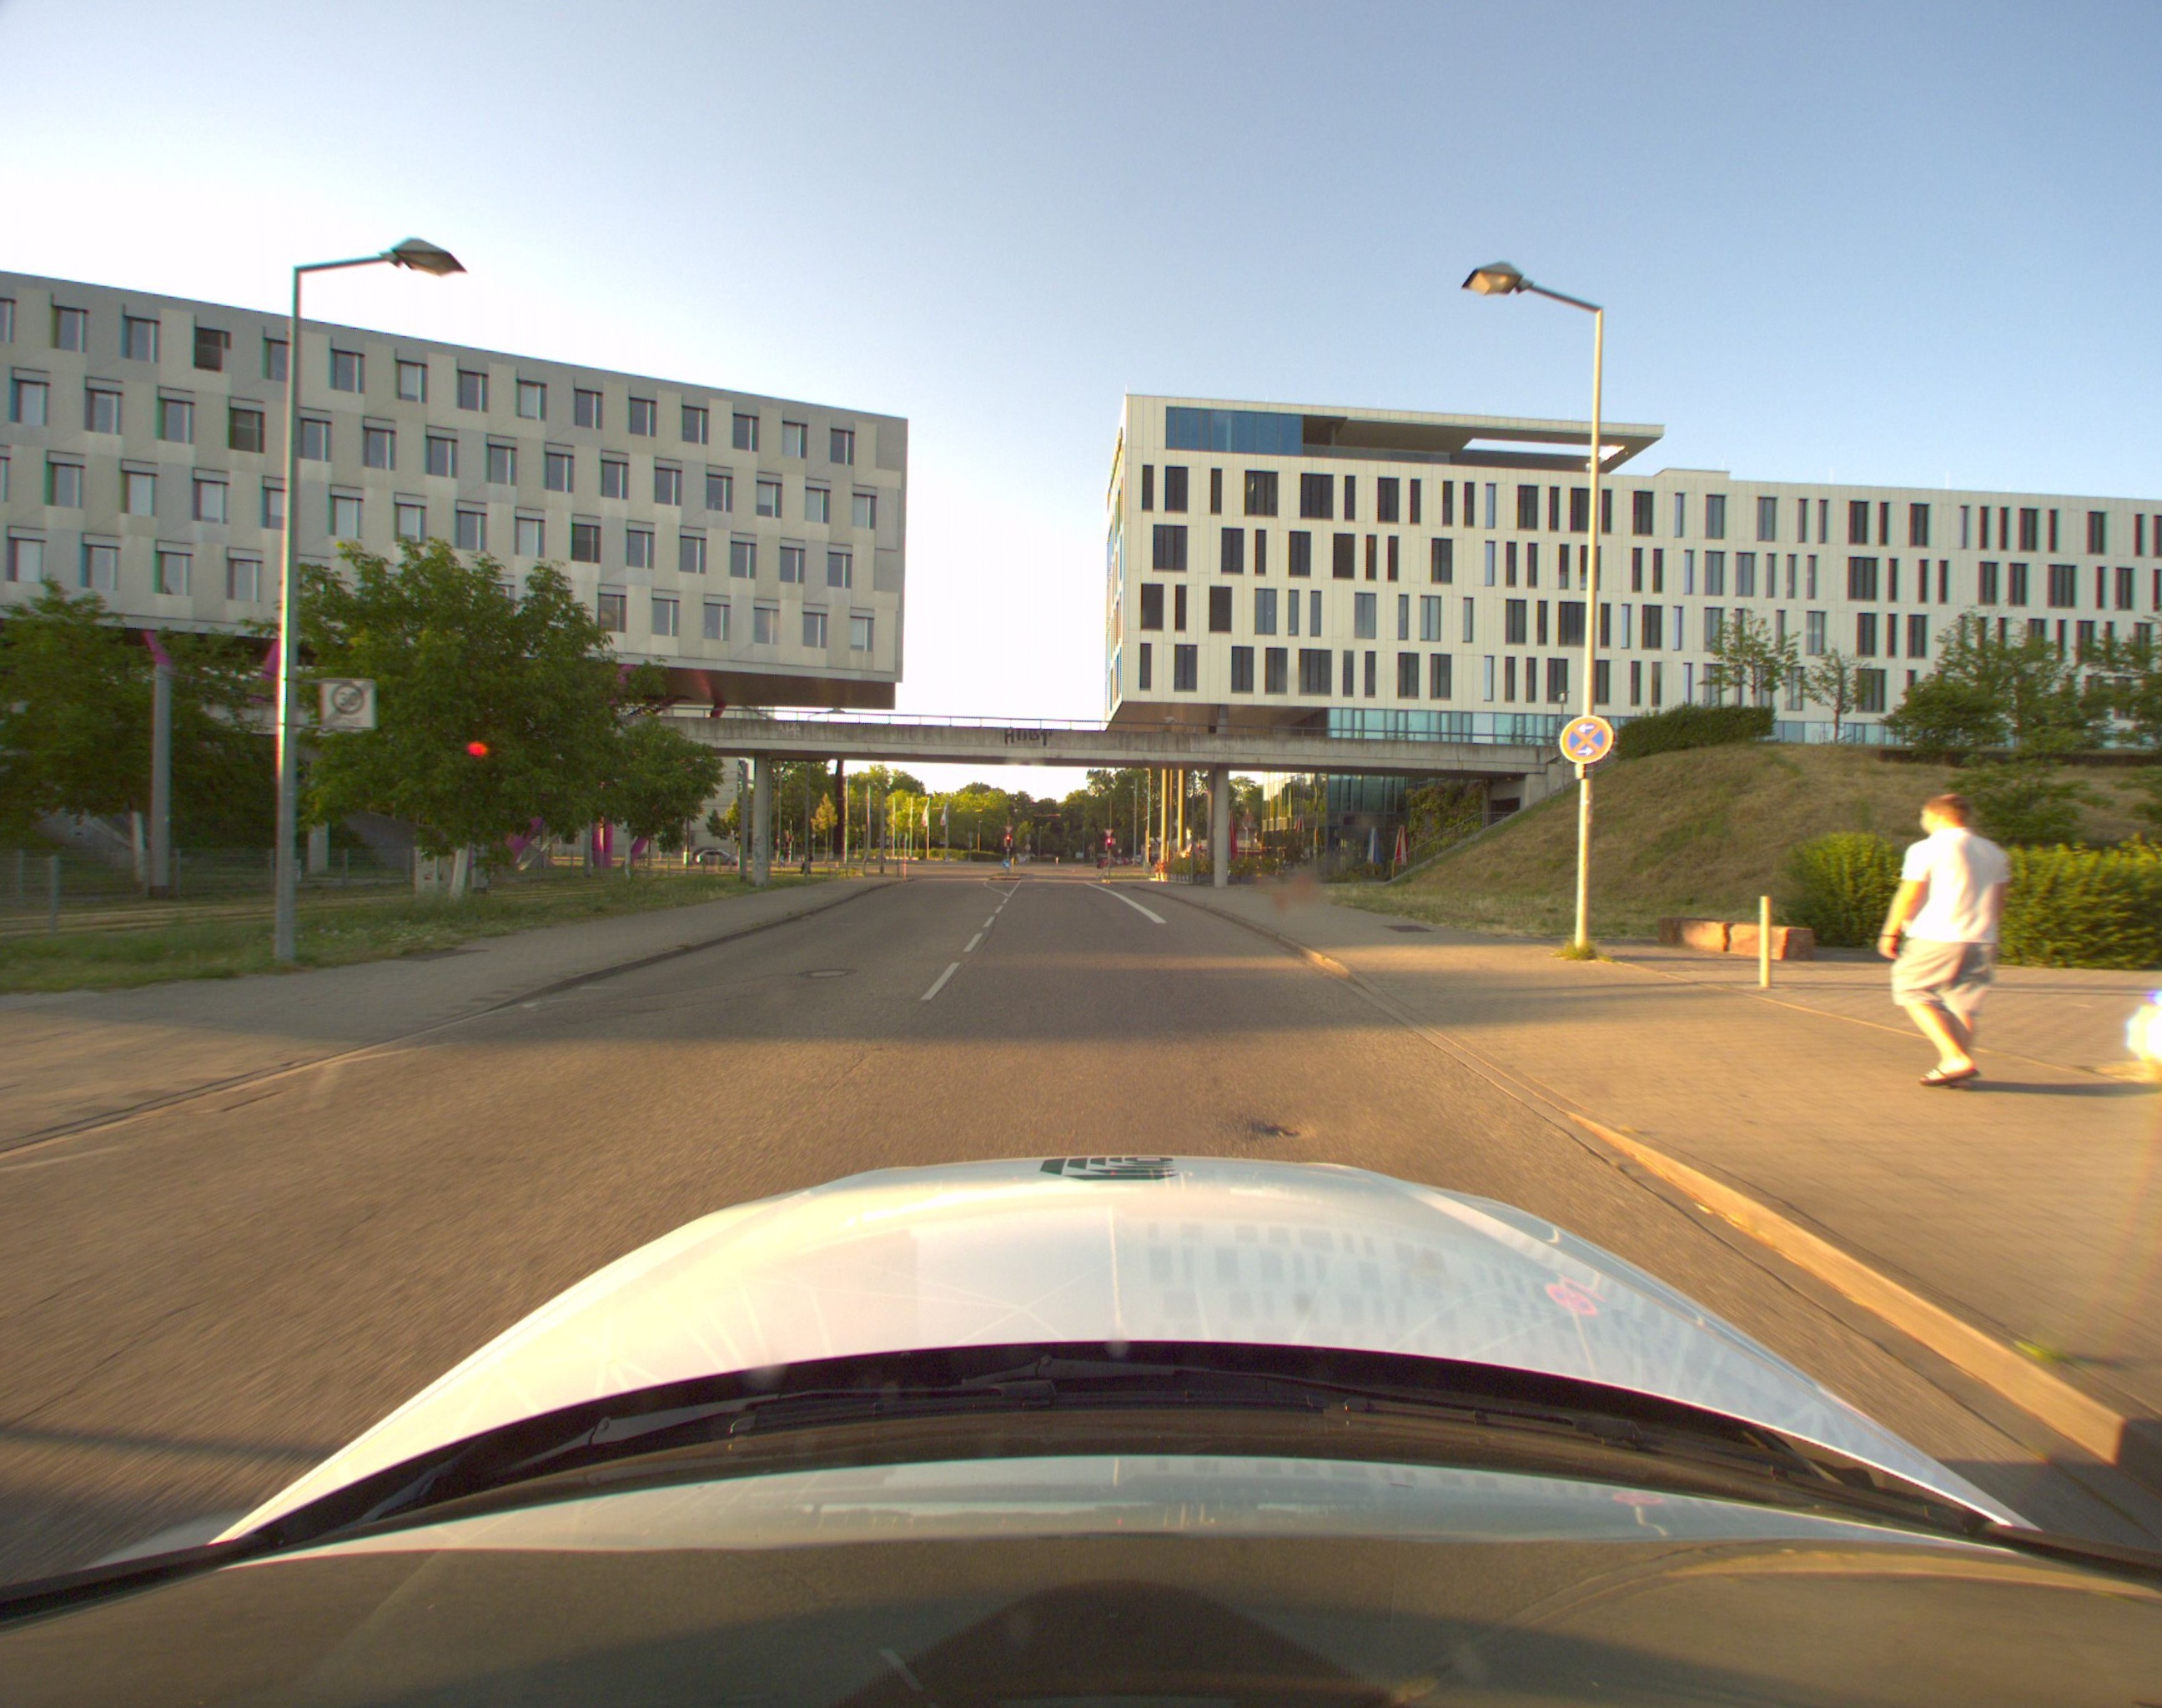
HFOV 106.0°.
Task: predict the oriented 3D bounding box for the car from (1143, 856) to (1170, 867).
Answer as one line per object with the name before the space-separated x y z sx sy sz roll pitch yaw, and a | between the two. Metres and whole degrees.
car | 12.844 1.259 138.519 4.449 1.816 1.947 1 1 3

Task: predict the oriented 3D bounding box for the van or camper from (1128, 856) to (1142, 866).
van or camper | 11.937 1.500 180.737 1.610 1.982 3.830 1 1 27

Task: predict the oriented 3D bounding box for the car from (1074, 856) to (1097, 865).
car | 0.970 1.329 171.708 4.664 1.869 2.015 1 1 4

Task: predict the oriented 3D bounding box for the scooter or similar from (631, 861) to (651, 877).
scooter or similar | -33.816 1.121 62.638 1.212 1.200 0.502 1 1 -7

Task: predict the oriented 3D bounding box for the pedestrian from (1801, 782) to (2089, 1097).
pedestrian | 5.265 0.493 5.041 0.827 1.766 0.819 -2 -1 4

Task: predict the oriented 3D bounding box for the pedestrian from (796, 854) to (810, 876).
pedestrian | -20.510 0.816 60.009 0.681 1.624 0.715 1 1 15

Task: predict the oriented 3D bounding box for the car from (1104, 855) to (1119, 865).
car | 5.442 1.101 145.150 1.484 1.760 3.422 1 1 24

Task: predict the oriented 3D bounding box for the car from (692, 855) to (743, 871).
car | -34.500 0.834 77.338 4.016 1.419 1.600 1 1 -5

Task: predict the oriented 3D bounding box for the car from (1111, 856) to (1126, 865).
car | 6.918 1.226 149.012 1.484 1.606 3.422 1 1 24

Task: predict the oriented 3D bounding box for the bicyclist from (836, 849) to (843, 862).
bicyclist | -33.255 0.181 112.114 0.761 1.723 0.547 0 1 -28

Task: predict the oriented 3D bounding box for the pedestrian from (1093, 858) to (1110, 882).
pedestrian | 1.578 1.212 61.654 1.056 1.834 0.890 1 1 -16

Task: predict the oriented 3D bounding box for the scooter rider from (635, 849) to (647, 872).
scooter rider | -33.823 0.520 62.635 0.705 1.782 0.442 1 1 -7

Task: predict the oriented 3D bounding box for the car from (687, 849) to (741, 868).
car | -36.156 0.417 80.306 4.458 1.816 1.942 1 1 -4

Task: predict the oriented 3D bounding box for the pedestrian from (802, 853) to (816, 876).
pedestrian | -20.301 0.793 60.762 0.695 1.664 0.715 1 1 15

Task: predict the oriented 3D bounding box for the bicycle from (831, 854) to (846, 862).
bicycle | -33.340 0.578 112.078 1.974 1.128 0.555 0 1 -28

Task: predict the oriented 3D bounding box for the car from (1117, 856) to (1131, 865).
car | 8.083 1.165 152.401 1.484 1.606 3.422 1 1 24
